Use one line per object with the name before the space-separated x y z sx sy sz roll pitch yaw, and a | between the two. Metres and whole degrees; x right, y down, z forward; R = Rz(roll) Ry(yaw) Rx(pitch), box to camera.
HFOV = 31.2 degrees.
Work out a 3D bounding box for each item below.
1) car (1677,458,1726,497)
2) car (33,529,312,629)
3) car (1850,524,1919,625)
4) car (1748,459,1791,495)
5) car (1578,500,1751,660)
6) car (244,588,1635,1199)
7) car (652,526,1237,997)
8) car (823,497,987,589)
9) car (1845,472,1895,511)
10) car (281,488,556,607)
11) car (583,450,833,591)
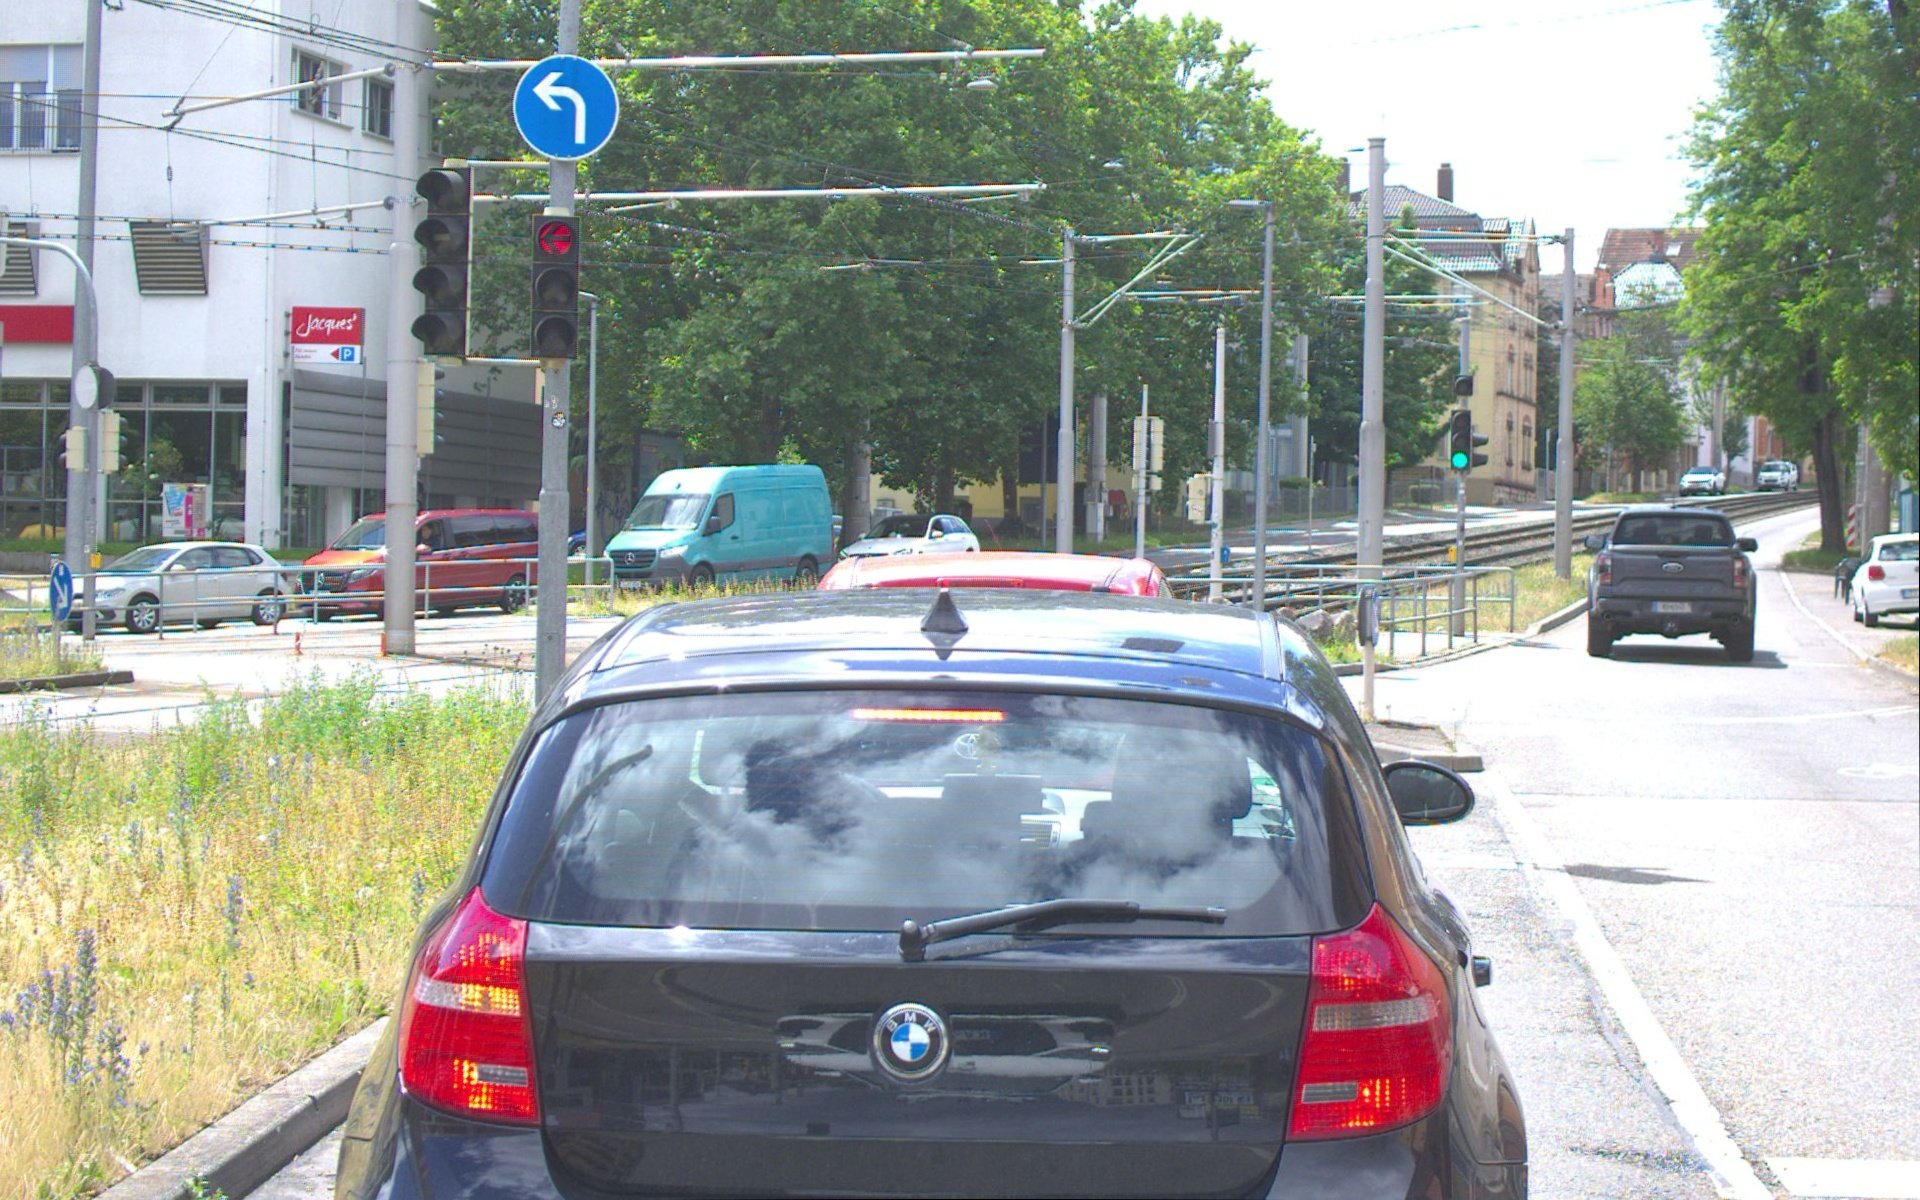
car | 40.521 -6.672 187.732 1.996 2.007 3.996 0 0 21
car | -12.798 -0.342 56.060 1.857 1.579 4.160 0 0 40
car | 15.462 -0.414 55.884 1.788 1.590 3.998 0 0 13
car | 48.756 -7.377 207.029 1.996 2.007 3.996 0 0 21
car | 8.908 -0.246 43.345 2.000 1.880 5.147 0 0 12
car | -0.112 0.710 6.211 1.701 1.447 4.000 0 0 -3
car | 0.102 0.500 12.808 1.625 1.468 3.999 0 0 8
car | -1.152 -1.220 74.855 1.855 1.921 4.792 0 0 21
car | 41.996 -4.988 158.545 1.995 1.656 3.996 0 0 18
car | -9.486 -0.909 60.580 1.857 2.002 4.787 0 0 38
car | -4.894 -1.515 67.761 2.134 2.645 5.681 0 0 29
